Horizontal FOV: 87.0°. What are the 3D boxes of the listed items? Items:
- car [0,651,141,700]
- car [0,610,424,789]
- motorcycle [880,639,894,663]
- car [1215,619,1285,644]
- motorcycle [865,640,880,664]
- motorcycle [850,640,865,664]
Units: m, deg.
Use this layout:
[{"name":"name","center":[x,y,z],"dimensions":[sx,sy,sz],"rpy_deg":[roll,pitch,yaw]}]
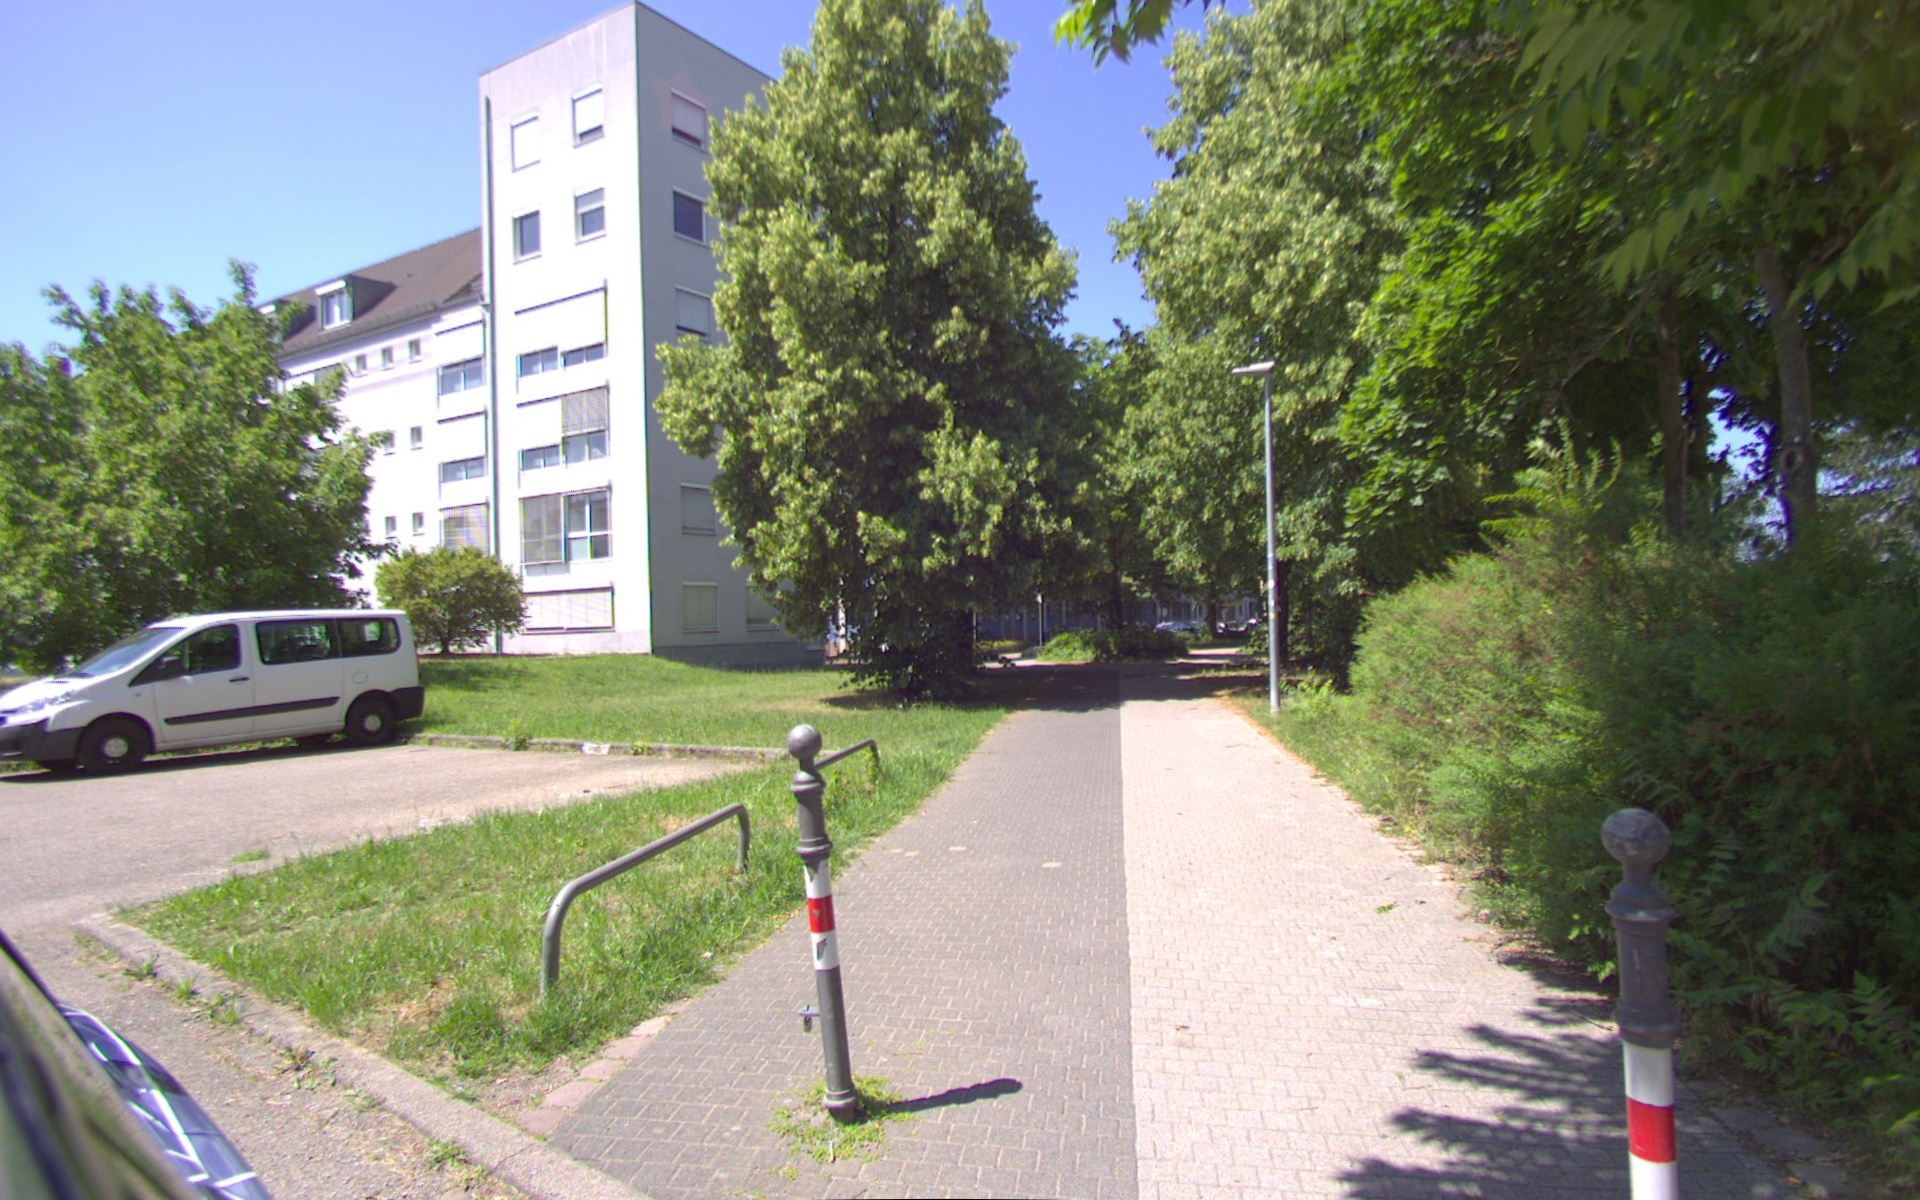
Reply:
[{"name":"car","center":[-29.747,2.458,33.355],"dimensions":[1.705,1.447,3.957],"rpy_deg":[-3,-3,32]},{"name":"car","center":[-9.978,1.164,13.414],"dimensions":[1.992,1.926,4.754],"rpy_deg":[-4,-3,30]},{"name":"motorcycle","center":[-3.832,2.660,53.160],"dimensions":[0.690,1.176,2.334],"rpy_deg":[-1,-1,-4]},{"name":"car","center":[15.823,1.717,55.186],"dimensions":[3.476,1.253,1.740],"rpy_deg":[-3,-2,22]},{"name":"motorcycle","center":[-4.585,2.694,53.051],"dimensions":[0.690,1.176,2.313],"rpy_deg":[-1,-1,-4]},{"name":"motorcycle","center":[-5.340,2.705,52.913],"dimensions":[0.690,1.176,2.305],"rpy_deg":[-1,-1,-4]}]
